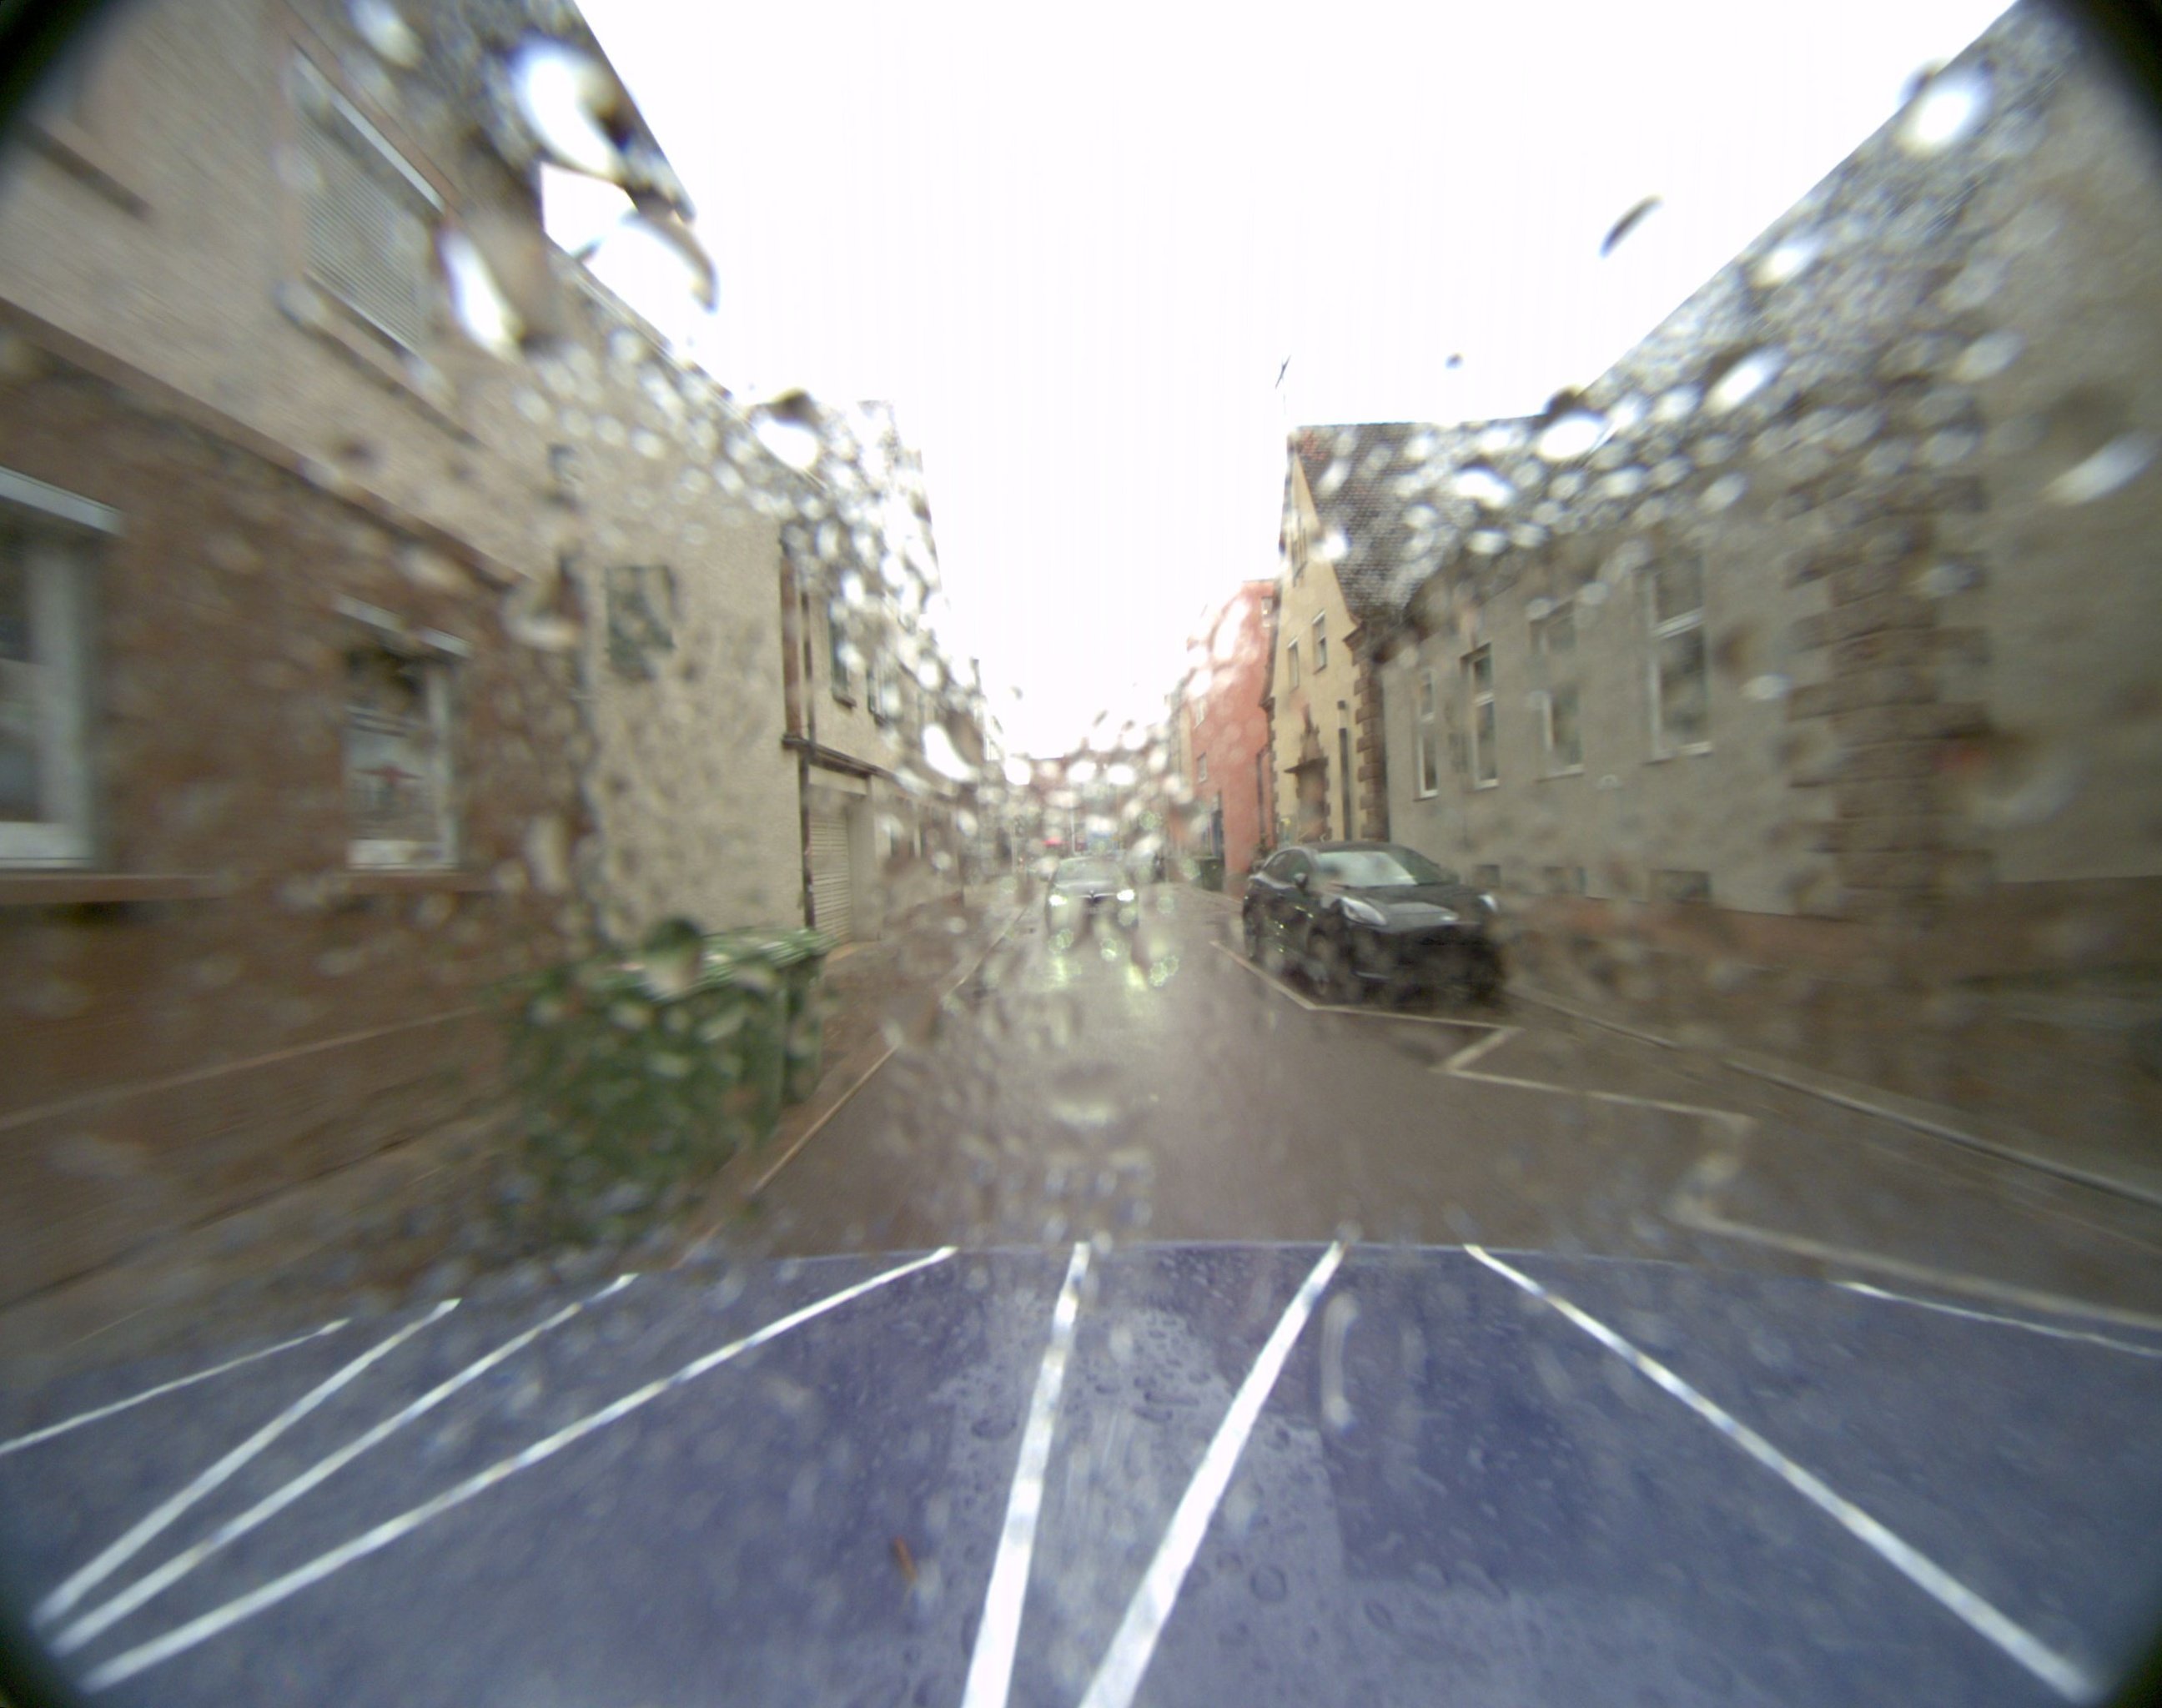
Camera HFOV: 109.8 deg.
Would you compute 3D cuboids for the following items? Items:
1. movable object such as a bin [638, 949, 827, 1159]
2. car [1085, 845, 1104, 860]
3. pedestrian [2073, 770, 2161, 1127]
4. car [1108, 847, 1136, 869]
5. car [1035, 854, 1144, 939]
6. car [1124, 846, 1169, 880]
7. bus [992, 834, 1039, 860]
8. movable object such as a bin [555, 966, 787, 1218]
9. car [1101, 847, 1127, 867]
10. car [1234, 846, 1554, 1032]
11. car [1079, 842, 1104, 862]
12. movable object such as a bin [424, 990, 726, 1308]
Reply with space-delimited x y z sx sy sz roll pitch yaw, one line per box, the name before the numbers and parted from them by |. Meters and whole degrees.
movable object such as a bin | -1.979 1.116 4.398 0.734 1.016 0.638 -3 1 2
car | 1.265 -0.140 70.612 1.632 1.359 3.488 -3 0 0
pedestrian | 5.574 0.458 3.538 0.551 1.766 1.009 -4 2 1
car | 2.711 0.237 50.965 1.632 1.359 3.488 -3 0 0
car | 0.238 0.805 16.587 1.947 1.394 4.420 -5 1 2
car | 2.839 0.376 33.687 1.632 1.359 3.488 -3 0 0
bus | -8.471 -0.832 97.126 2.617 3.175 7.357 -3 1 -33
movable object such as a bin | -1.971 1.123 3.742 0.734 1.016 0.638 -3 1 2
car | 2.387 0.203 55.489 1.632 1.359 3.488 -3 0 0
car | 3.072 0.701 8.436 1.740 1.516 3.929 -2 1 -3
car | 0.875 -0.212 66.476 1.999 1.587 3.999 -2 1 -1
movable object such as a bin | -1.989 1.131 3.079 0.734 1.016 0.638 -3 1 2
